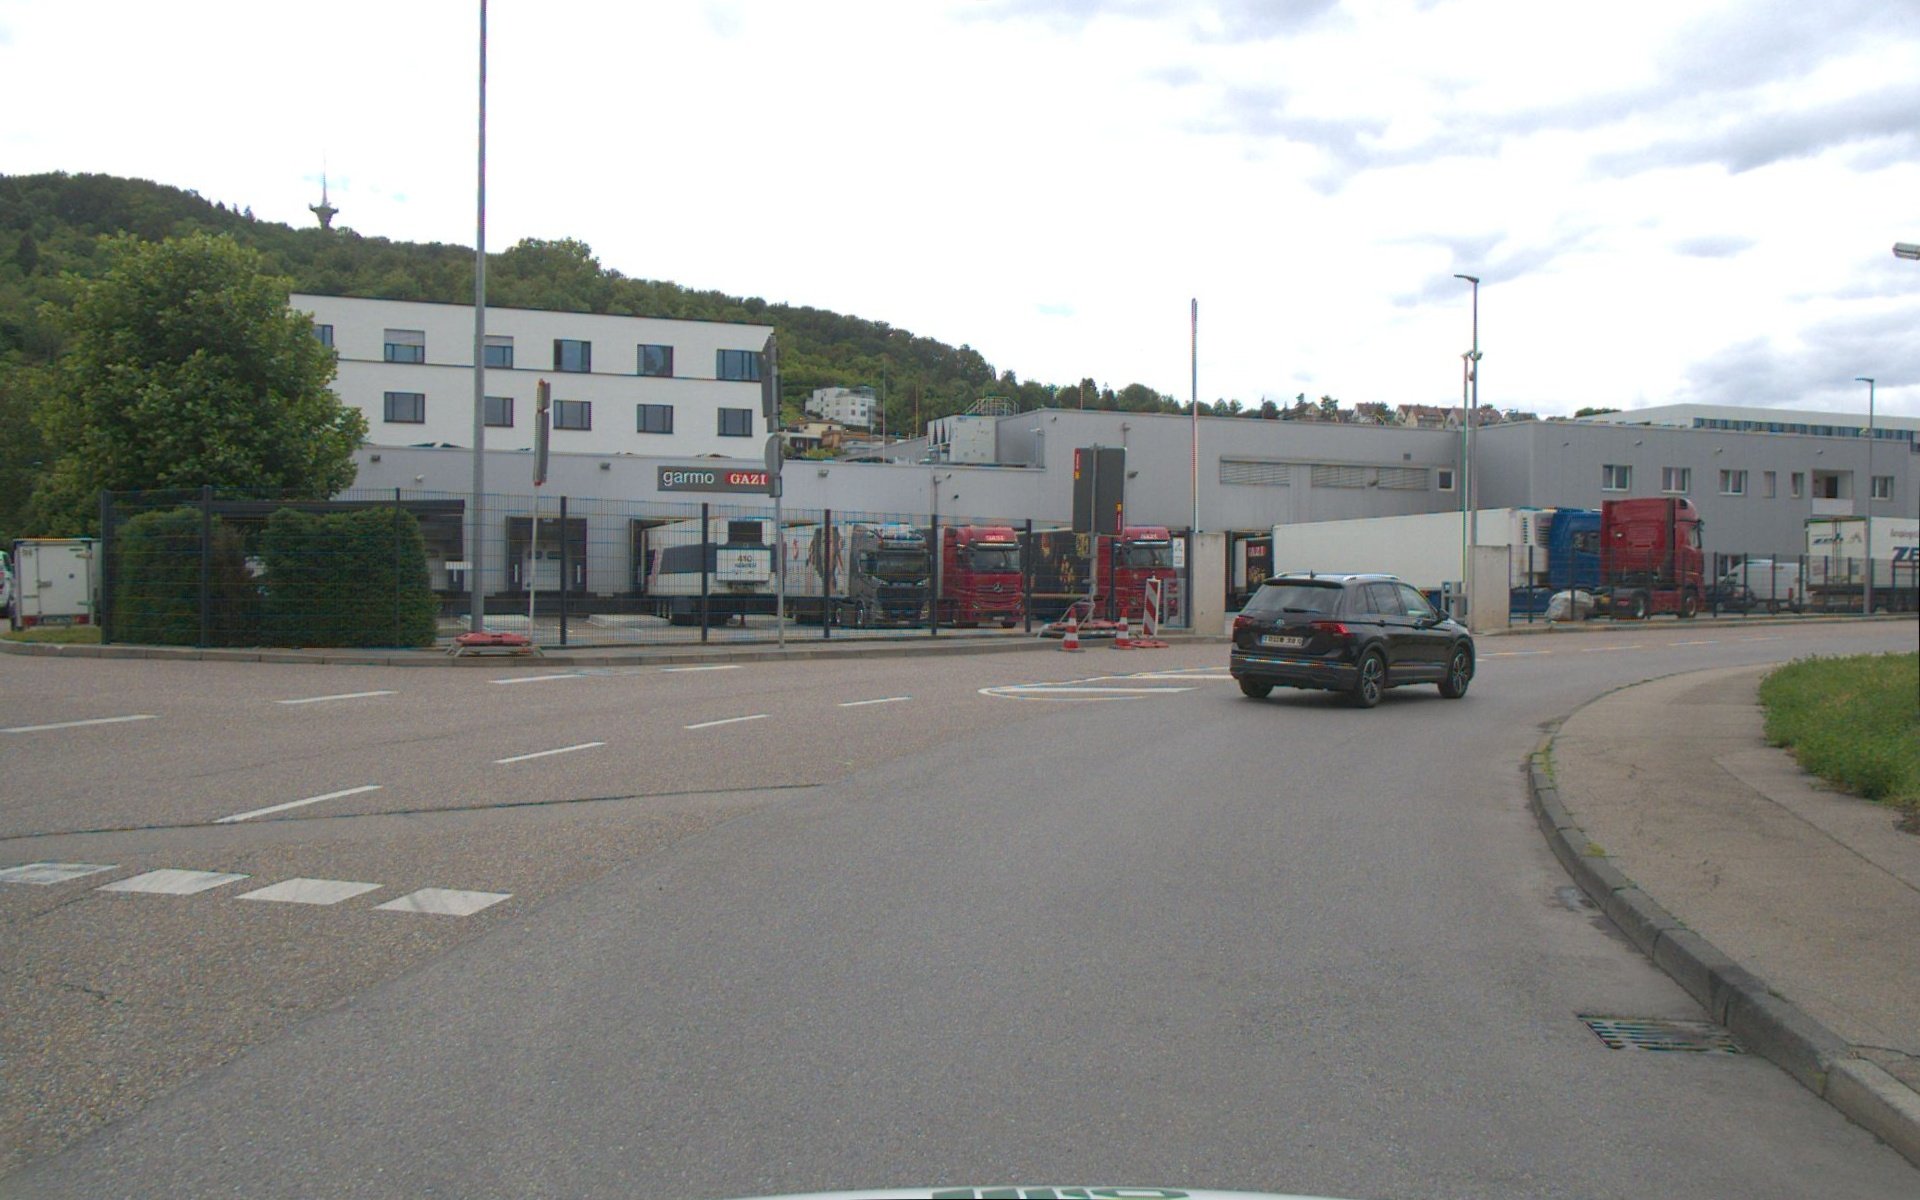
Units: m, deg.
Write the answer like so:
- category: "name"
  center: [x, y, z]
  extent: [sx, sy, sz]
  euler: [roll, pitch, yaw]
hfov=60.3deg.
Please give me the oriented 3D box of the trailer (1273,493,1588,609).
- category: "trailer"
  center: [18.750, -1.951, 67.557]
  extent: [2.999, 4.256, 13.859]
  euler: [0, 1, -33]

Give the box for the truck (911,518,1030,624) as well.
- category: "truck"
  center: [0.339, -1.141, 65.762]
  extent: [2.754, 3.997, 5.886]
  euler: [0, 1, -22]

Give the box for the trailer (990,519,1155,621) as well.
- category: "trailer"
  center: [4.739, -1.315, 72.858]
  extent: [2.745, 4.148, 10.922]
  euler: [0, 1, -22]

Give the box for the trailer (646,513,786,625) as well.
- category: "trailer"
  center: [-10.089, -1.236, 67.081]
  extent: [3.038, 4.148, 11.333]
  euler: [0, 1, -22]

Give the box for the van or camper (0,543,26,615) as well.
- category: "van or camper"
  center: [-29.724, -0.646, 50.417]
  extent: [2.075, 2.119, 4.166]
  euler: [0, 1, -28]

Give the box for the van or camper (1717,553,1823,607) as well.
- category: "van or camper"
  center: [43.167, -1.095, 88.284]
  extent: [2.069, 2.810, 4.952]
  euler: [0, 1, -23]

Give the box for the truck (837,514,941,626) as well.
- category: "truck"
  center: [-2.774, -1.130, 63.227]
  extent: [2.754, 4.110, 4.138]
  euler: [0, 1, -22]

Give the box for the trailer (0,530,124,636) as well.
- category: "trailer"
  center: [-18.580, -0.386, 34.392]
  extent: [1.968, 2.048, 3.970]
  euler: [0, 2, -25]

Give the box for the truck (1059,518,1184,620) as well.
- category: "truck"
  center: [6.570, -1.262, 68.322]
  extent: [2.754, 3.997, 5.886]
  euler: [0, 1, -22]

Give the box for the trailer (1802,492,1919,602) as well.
- category: "trailer"
  center: [42.149, -2.213, 73.629]
  extent: [13.889, 4.336, 3.097]
  euler: [0, -3, -41]

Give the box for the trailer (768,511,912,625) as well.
- category: "trailer"
  center: [-5.249, -1.332, 69.394]
  extent: [2.745, 4.376, 11.107]
  euler: [0, 1, -22]

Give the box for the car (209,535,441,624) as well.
- category: "car"
  center: [-12.867, -0.409, 33.527]
  extent: [4.186, 1.699, 2.055]
  euler: [0, 1, -29]

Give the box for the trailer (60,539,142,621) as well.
- category: "trailer"
  center: [-26.091, -0.629, 50.330]
  extent: [1.968, 2.384, 3.970]
  euler: [0, 2, -25]

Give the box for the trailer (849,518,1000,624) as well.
- category: "trailer"
  center: [-1.712, -1.225, 70.807]
  extent: [2.745, 4.148, 10.922]
  euler: [0, 1, -22]

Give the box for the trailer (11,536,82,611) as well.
- category: "trailer"
  center: [-37.838, -1.107, 68.570]
  extent: [2.250, 3.004, 3.970]
  euler: [0, 1, -25]

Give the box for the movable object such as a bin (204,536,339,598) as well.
- category: "movable object such as a bin"
  center: [-25.879, -1.227, 62.153]
  extent: [4.534, 2.265, 2.062]
  euler: [0, 1, -29]

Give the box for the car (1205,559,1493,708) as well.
- category: "car"
  center: [5.241, 0.384, 21.904]
  extent: [1.963, 1.713, 4.348]
  euler: [3, 2, 40]

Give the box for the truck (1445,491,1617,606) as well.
- category: "truck"
  center: [21.344, -1.906, 61.856]
  extent: [5.499, 4.090, 2.923]
  euler: [1, 1, 34]

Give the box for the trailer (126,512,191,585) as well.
- category: "trailer"
  center: [-44.024, -2.821, 90.967]
  extent: [3.029, 3.824, 4.896]
  euler: [0, 1, -25]

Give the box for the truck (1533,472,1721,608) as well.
- category: "truck"
  center: [21.510, -1.841, 53.144]
  extent: [6.882, 4.090, 2.887]
  euler: [0, 1, -42]

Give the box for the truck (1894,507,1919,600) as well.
- category: "truck"
  center: [47.080, -2.211, 77.840]
  extent: [6.876, 4.189, 3.093]
  euler: [0, -3, -40]
